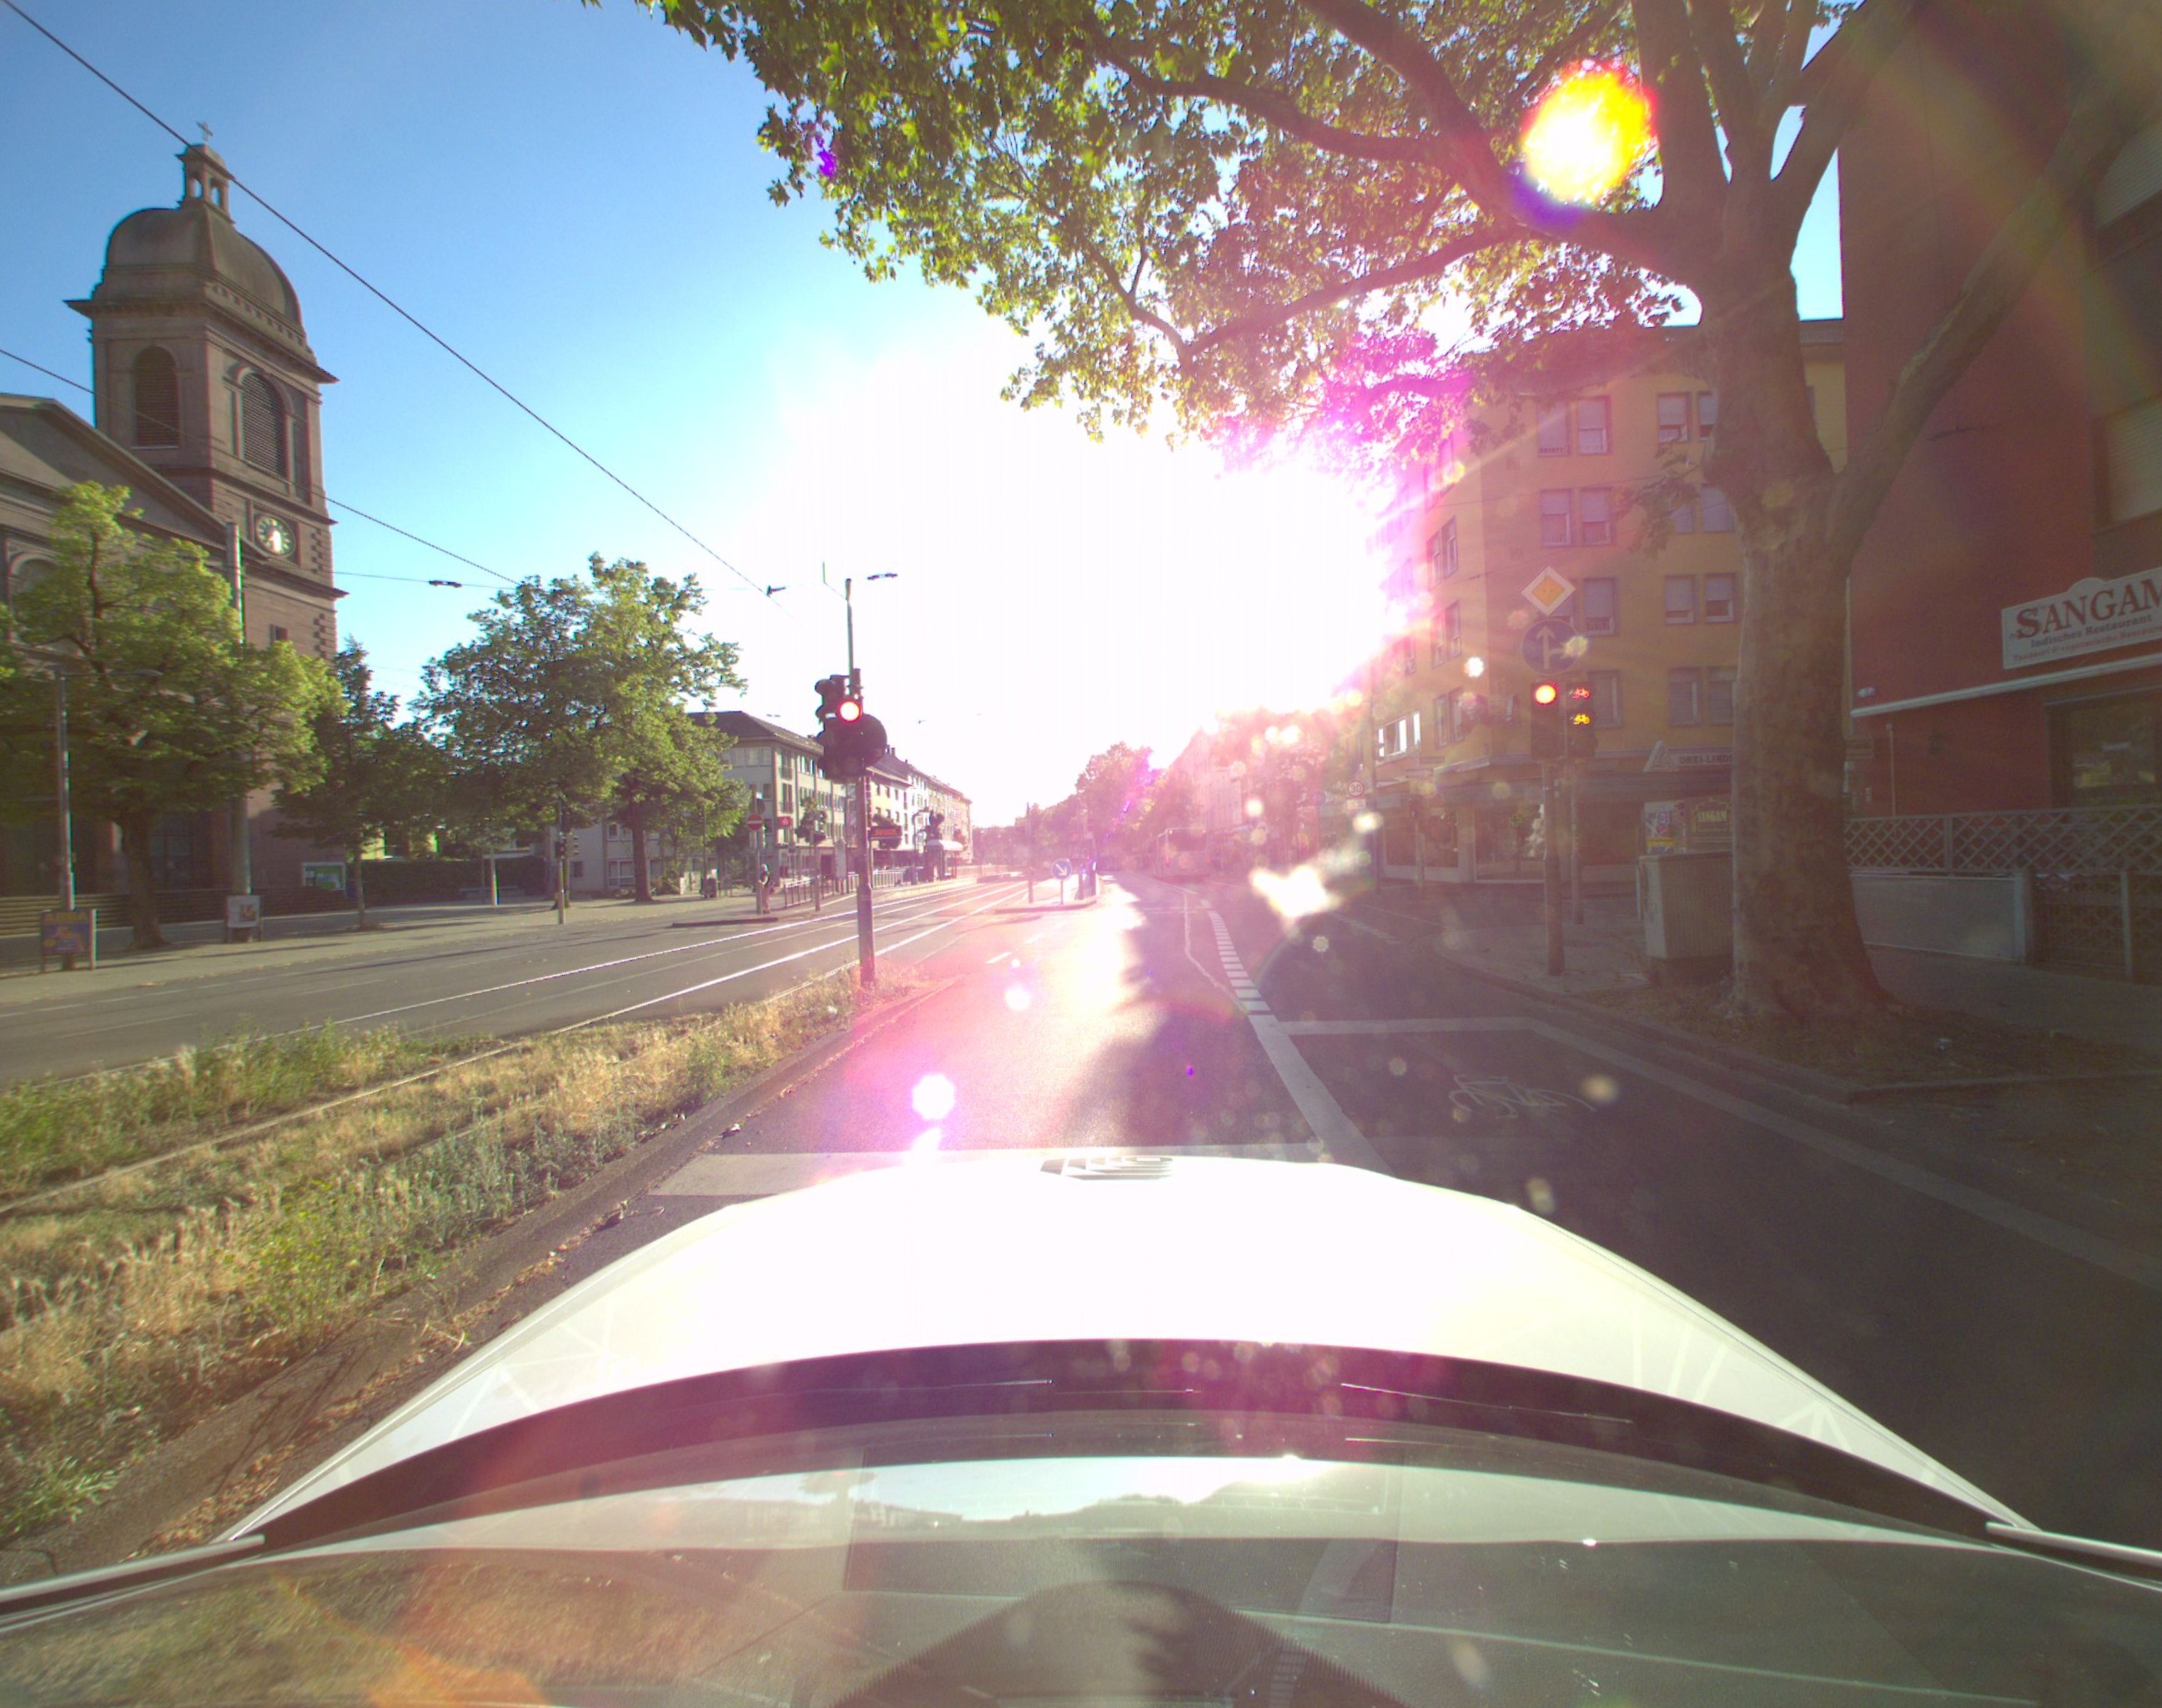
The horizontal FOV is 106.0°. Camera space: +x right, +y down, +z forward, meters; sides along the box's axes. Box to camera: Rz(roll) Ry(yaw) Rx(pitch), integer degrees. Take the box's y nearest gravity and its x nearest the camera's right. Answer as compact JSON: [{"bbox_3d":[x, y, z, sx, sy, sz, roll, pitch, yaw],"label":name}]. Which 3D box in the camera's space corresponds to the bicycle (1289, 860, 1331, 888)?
[{"bbox_3d":[8.945,0.772,31.777,1.479,1.008,0.454,-2,0,-2],"label":"bicycle"}]

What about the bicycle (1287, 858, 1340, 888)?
[{"bbox_3d":[8.879,0.704,31.133,1.793,1.008,0.540,-4,-1,-3],"label":"bicycle"}]

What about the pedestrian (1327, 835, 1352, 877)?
[{"bbox_3d":[11.256,0.107,35.516,0.741,1.780,0.895,-3,-1,1],"label":"pedestrian"}]

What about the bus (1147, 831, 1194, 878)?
[{"bbox_3d":[6.385,0.038,59.425,2.686,3.118,9.073,-1,0,2],"label":"bus"}]

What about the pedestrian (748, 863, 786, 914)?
[{"bbox_3d":[-11.153,1.221,28.951,0.915,1.760,0.833,-2,-1,2],"label":"pedestrian"}]

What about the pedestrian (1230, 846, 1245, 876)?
[{"bbox_3d":[9.590,0.435,50.020,0.721,1.807,0.766,-2,-1,1],"label":"pedestrian"}]

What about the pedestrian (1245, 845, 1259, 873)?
[{"bbox_3d":[11.193,0.317,53.236,0.721,1.779,0.766,-2,-1,1],"label":"pedestrian"}]

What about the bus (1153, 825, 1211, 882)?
[{"bbox_3d":[6.065,-0.021,50.176,2.686,3.118,9.385,-1,0,2],"label":"bus"}]

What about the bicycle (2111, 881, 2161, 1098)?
[{"bbox_3d":[5.668,0.745,3.644,0.613,1.111,1.812,-3,1,28],"label":"bicycle"}]

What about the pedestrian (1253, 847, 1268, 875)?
[{"bbox_3d":[11.144,0.430,50.670,0.721,1.723,0.766,-2,-1,1],"label":"pedestrian"}]

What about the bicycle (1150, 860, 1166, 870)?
[{"bbox_3d":[9.539,1.383,100.906,1.879,1.077,0.755,-6,-1,4],"label":"bicycle"}]

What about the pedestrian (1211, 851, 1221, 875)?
[{"bbox_3d":[9.107,0.625,55.019,0.607,1.578,0.853,-2,0,7],"label":"pedestrian"}]
